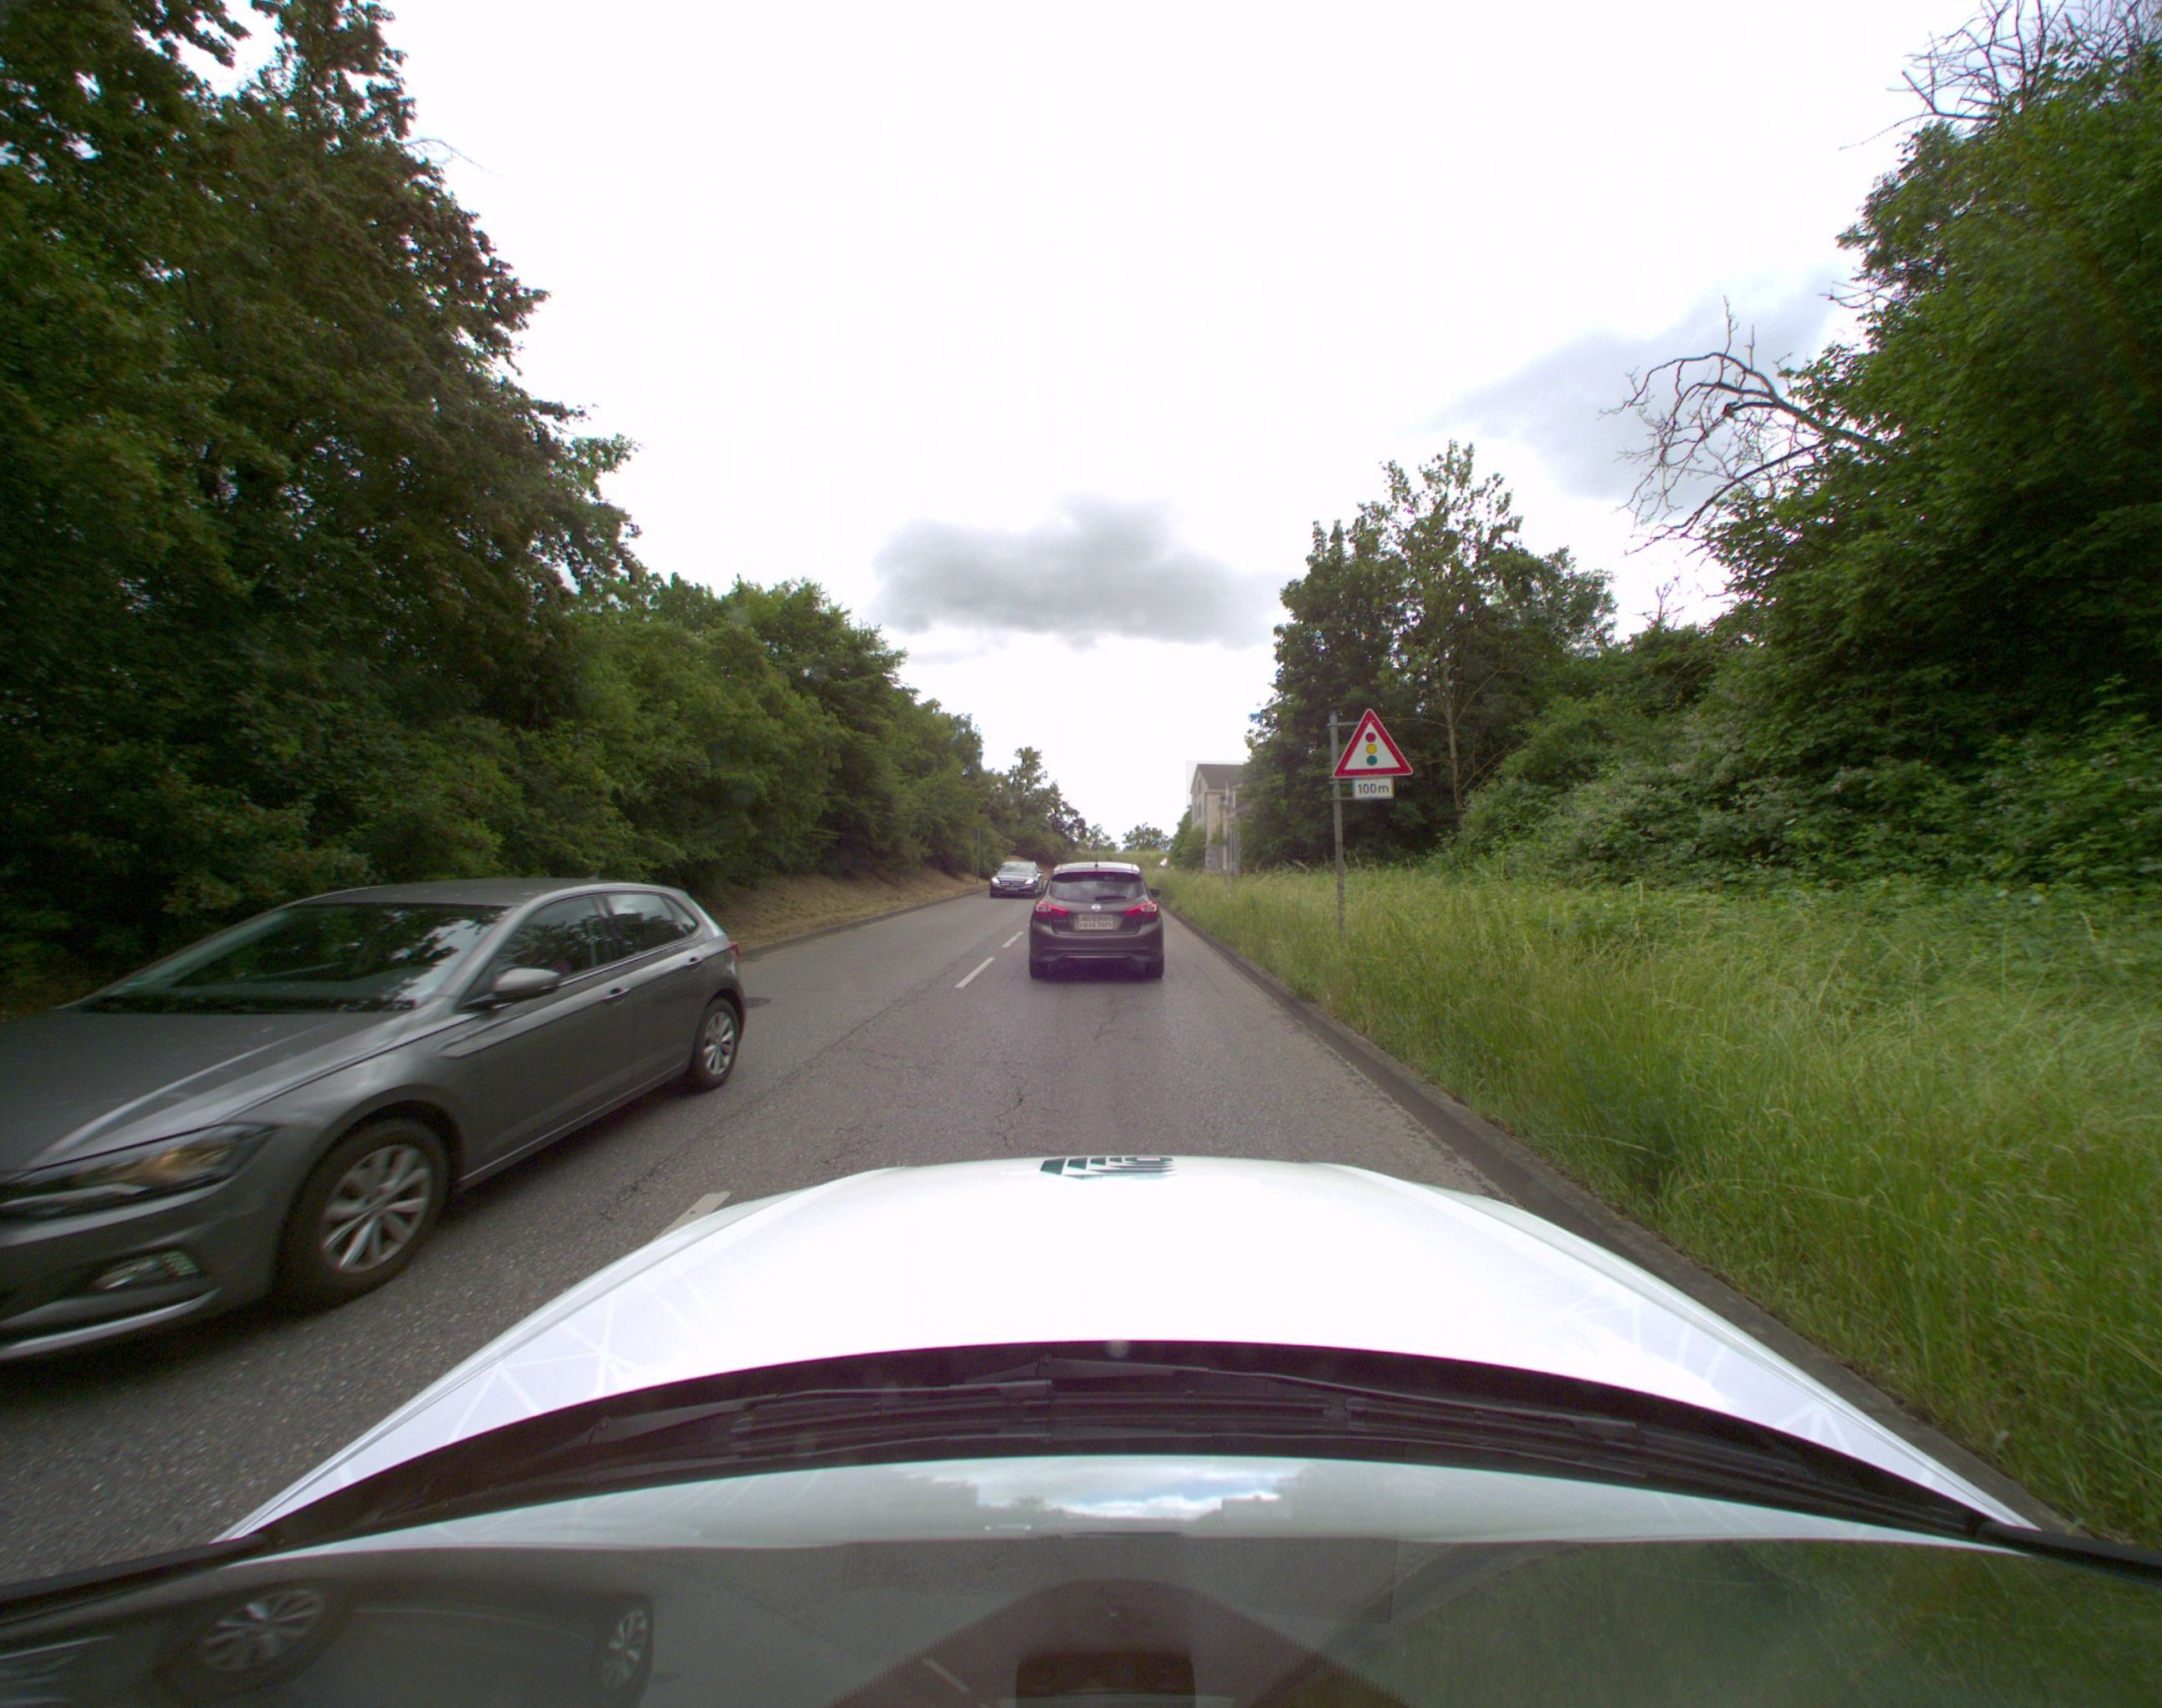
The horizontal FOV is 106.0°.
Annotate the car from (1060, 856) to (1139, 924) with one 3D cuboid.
[{"bbox_3d":[0.519,0.864,21.064,1.823,1.556,3.627,-2,0,3],"label":"car"}]

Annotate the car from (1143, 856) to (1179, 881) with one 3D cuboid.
[{"bbox_3d":[6.571,1.185,66.702,1.720,1.935,3.564,-2,-1,25],"label":"car"}]

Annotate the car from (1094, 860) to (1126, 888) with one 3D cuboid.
[{"bbox_3d":[1.725,1.134,47.520,1.729,1.556,3.546,-2,0,3],"label":"car"}]

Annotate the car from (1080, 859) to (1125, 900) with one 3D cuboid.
[{"bbox_3d":[0.912,1.017,33.736,1.729,1.556,3.546,-2,0,3],"label":"car"}]

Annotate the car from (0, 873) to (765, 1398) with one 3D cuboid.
[{"bbox_3d":[-3.253,0.839,4.204,1.636,1.400,3.823,-1,0,2],"label":"car"}]

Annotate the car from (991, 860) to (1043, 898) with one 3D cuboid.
[{"bbox_3d":[-2.524,0.961,33.015,1.636,1.400,3.823,2,0,2],"label":"car"}]

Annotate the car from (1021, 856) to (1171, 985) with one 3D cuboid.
[{"bbox_3d":[0.194,0.826,11.750,1.824,1.556,3.499,-1,0,0],"label":"car"}]
